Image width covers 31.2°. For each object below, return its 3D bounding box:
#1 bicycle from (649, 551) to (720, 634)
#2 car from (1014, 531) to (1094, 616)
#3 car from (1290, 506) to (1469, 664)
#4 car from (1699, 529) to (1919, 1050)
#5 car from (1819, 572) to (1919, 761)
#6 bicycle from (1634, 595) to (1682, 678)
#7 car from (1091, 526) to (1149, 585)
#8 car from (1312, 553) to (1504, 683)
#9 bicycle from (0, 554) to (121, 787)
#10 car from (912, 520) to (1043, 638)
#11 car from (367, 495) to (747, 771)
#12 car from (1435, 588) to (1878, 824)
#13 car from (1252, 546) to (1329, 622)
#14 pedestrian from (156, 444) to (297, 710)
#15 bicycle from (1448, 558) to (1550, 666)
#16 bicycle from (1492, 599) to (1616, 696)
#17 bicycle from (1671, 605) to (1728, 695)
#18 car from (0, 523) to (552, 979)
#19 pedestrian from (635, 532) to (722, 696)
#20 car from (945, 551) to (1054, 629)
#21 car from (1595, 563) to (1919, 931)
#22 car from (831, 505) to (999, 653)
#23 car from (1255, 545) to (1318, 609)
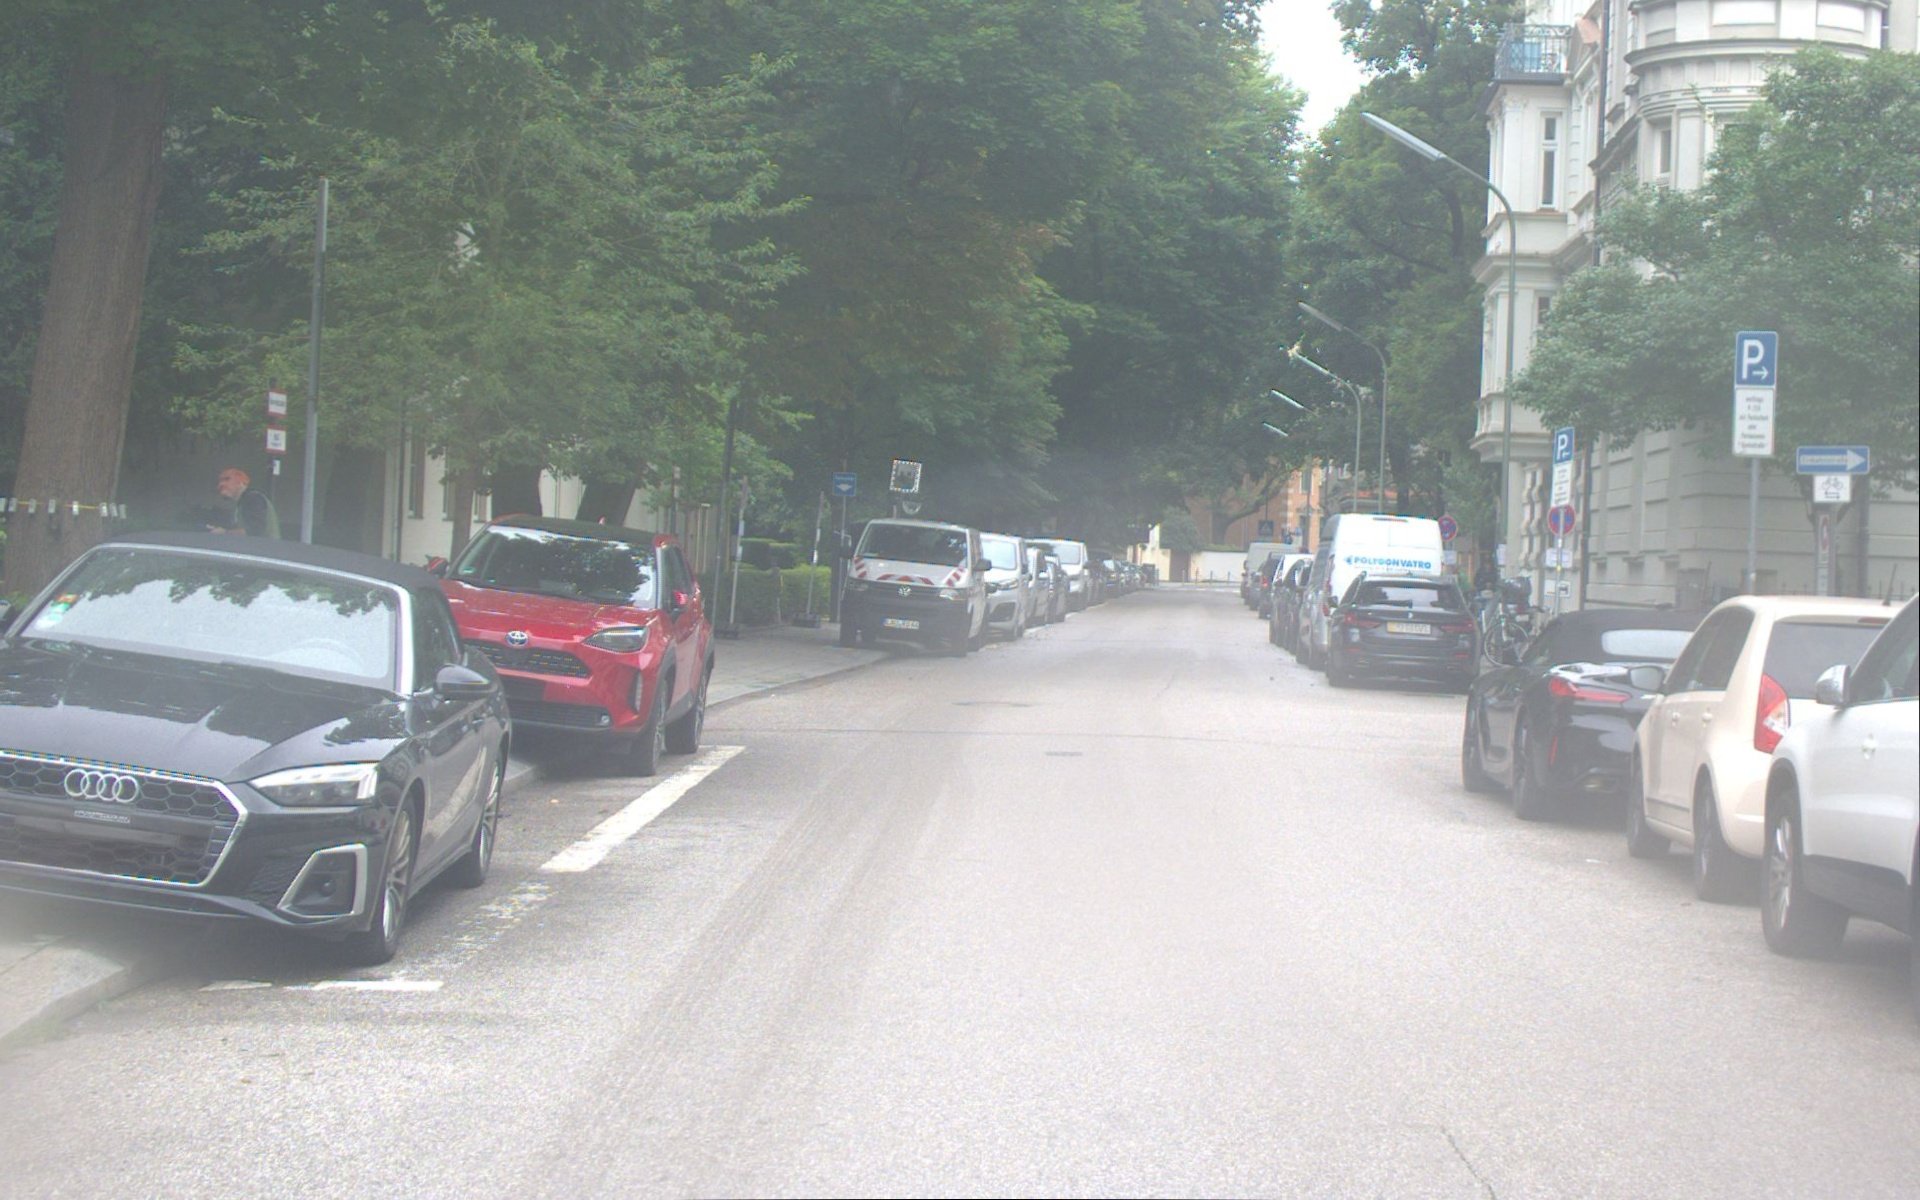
[{"bbox_3d":[-3.841,-0.105,48.026,0.633,1.099,1.767,4,1,6],"label":"bicycle"},{"bbox_3d":[2.651,-0.748,96.131,2.002,2.179,4.695,4,1,3],"label":"car"},{"bbox_3d":[6.178,-0.225,51.196,2.204,2.201,4.855,1,0,2],"label":"car"},{"bbox_3d":[4.214,0.665,12.664,1.994,1.701,4.534,4,1,1],"label":"car"},{"bbox_3d":[10.373,0.639,30.647,4.906,1.526,1.913,2,3,1],"label":"car"},{"bbox_3d":[9.413,0.478,46.340,0.546,1.056,1.749,2,1,13],"label":"bicycle"},{"bbox_3d":[6.310,-1.762,135.941,2.047,2.147,4.314,4,1,1],"label":"car"},{"bbox_3d":[5.699,0.203,44.252,2.273,1.541,4.586,1,0,6],"label":"car"},{"bbox_3d":[-4.967,0.340,17.417,0.649,1.126,2.047,2,1,8],"label":"bicycle"},{"bbox_3d":[0.351,-0.408,63.210,2.184,1.950,5.167,4,1,1],"label":"car"},{"bbox_3d":[-2.621,0.171,23.429,1.887,1.585,4.528,4,1,1],"label":"car"},{"bbox_3d":[4.342,0.605,22.164,2.000,1.314,4.595,0,1,1],"label":"car"},{"bbox_3d":[9.069,-0.459,94.146,1.994,1.969,3.999,2,1,6],"label":"car"},{"bbox_3d":[-5.291,-0.168,24.832,0.712,1.846,0.797,4,0,2],"label":"pedestrian"},{"bbox_3d":[7.917,0.165,50.582,0.707,1.510,2.039,2,1,-13],"label":"bicycle"},{"bbox_3d":[7.017,0.551,40.701,0.653,1.024,2.203,1,2,-12],"label":"bicycle"},{"bbox_3d":[9.199,0.608,42.793,0.430,1.024,1.890,2,2,5],"label":"bicycle"},{"bbox_3d":[-2.800,0.450,13.697,1.807,1.397,4.924,4,1,-2],"label":"car"},{"bbox_3d":[-2.762,0.129,33.787,0.713,1.543,0.753,4,1,-2],"label":"pedestrian"},{"bbox_3d":[0.897,-0.239,74.610,2.069,1.514,4.237,4,1,3],"label":"car"},{"bbox_3d":[4.405,0.687,17.283,1.771,1.540,3.711,7,1,3],"label":"car"},{"bbox_3d":[-0.607,-0.335,51.528,2.248,1.950,5.454,4,1,1],"label":"car"},{"bbox_3d":[10.768,-0.762,113.257,1.994,2.007,3.999,2,1,6],"label":"car"}]
